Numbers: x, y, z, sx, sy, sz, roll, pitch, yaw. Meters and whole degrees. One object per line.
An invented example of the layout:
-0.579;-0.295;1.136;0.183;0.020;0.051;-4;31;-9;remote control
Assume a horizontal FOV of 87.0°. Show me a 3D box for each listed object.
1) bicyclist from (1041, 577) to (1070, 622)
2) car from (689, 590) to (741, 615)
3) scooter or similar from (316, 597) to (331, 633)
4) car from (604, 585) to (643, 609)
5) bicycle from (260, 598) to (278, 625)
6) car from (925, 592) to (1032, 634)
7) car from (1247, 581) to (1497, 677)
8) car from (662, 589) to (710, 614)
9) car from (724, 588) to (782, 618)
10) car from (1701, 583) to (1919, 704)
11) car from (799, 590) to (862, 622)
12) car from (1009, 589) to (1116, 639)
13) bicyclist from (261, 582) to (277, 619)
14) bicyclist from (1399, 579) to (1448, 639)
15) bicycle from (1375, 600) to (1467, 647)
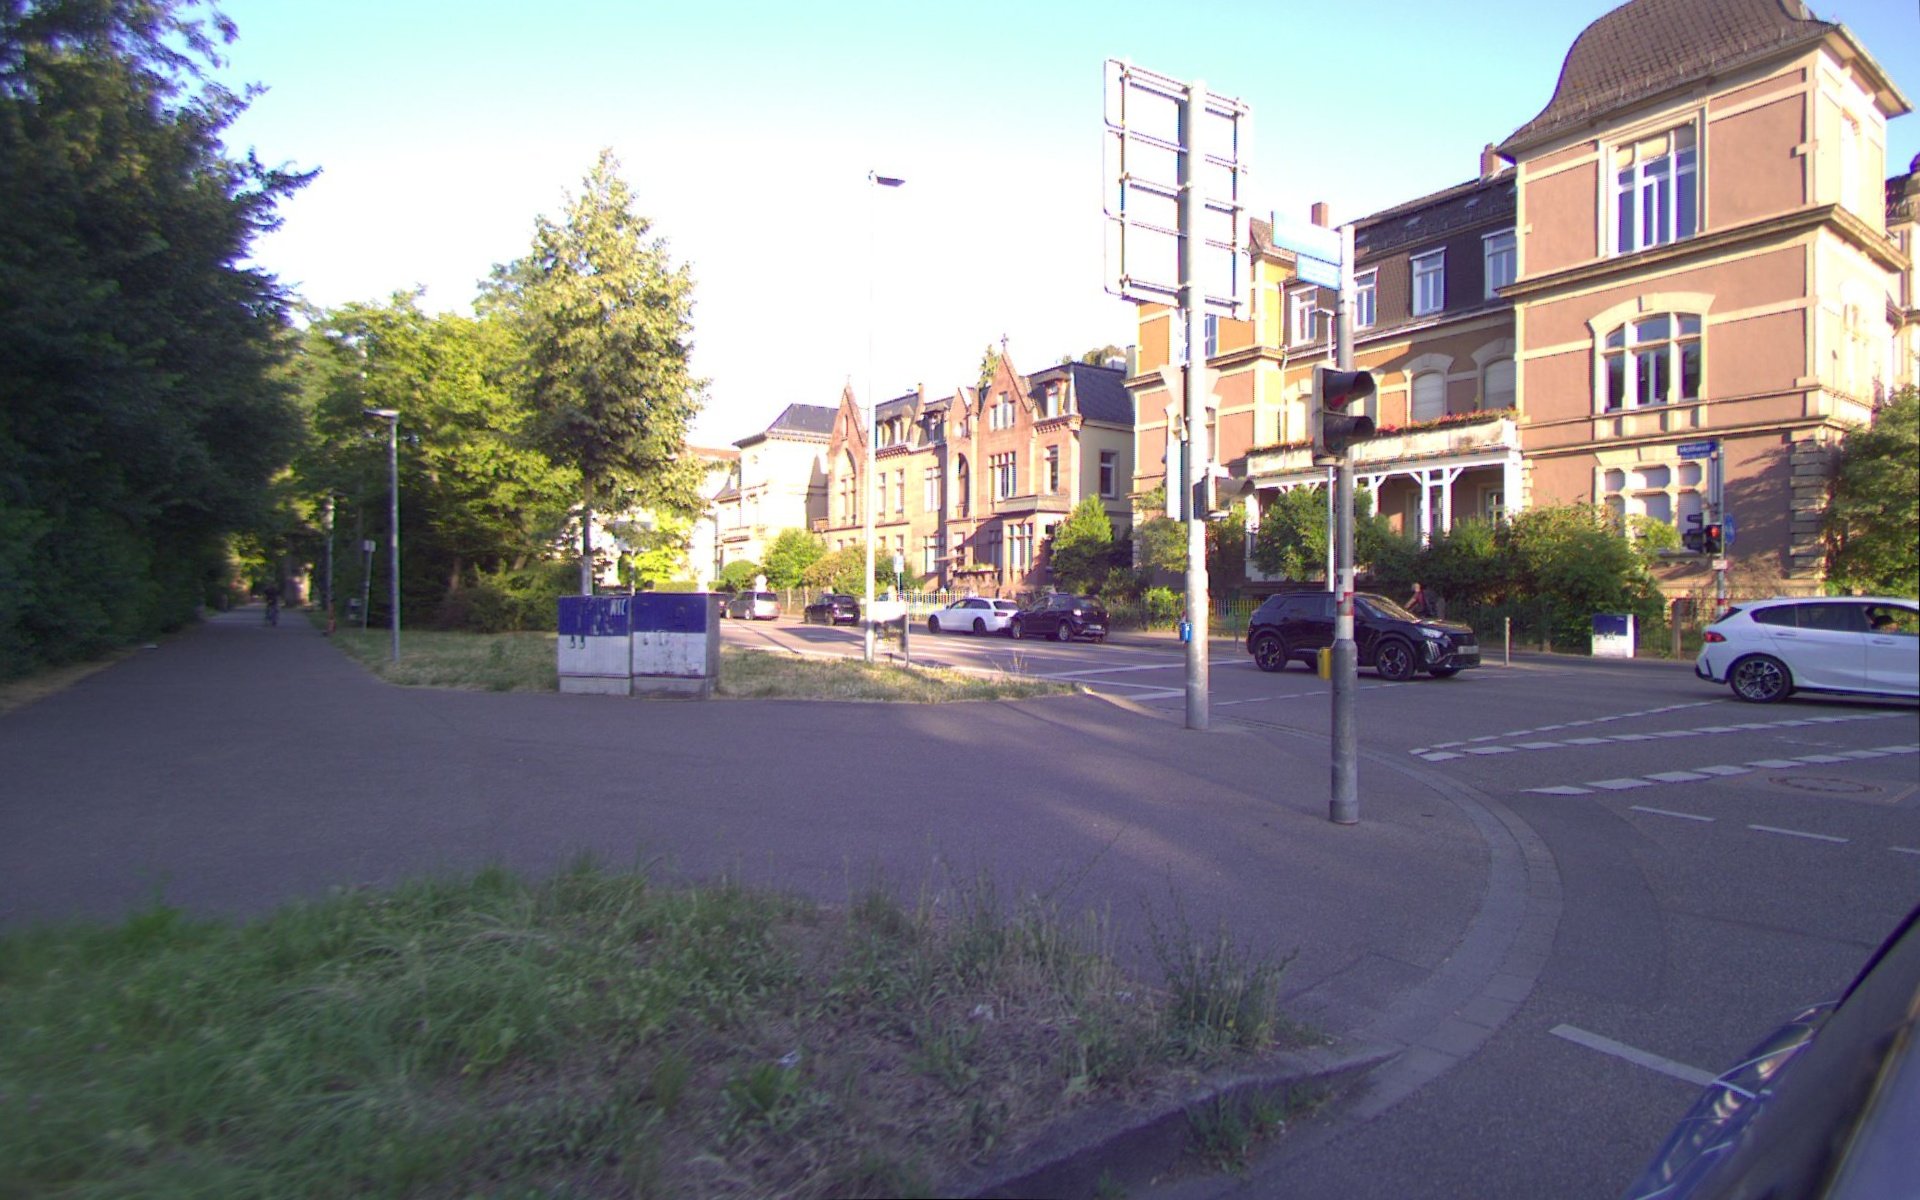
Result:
3.580;-0.037;37.937;0.640;1.653;0.915;-2;1;-34;bicyclist
-14.588;0.147;60.088;1.684;1.468;3.722;1;0;-36;car
-19.848;0.452;31.565;0.190;1.099;0.838;-2;0;-20;scooter or similar
-25.144;-0.255;75.562;1.845;1.625;3.725;1;2;-34;car
-27.284;0.432;39.938;0.493;1.027;1.526;0;0;-39;bicycle
0.632;0.456;37.808;1.579;1.461;4.431;3;-1;-37;car
7.410;0.456;18.536;1.652;1.555;4.000;0;0;-35;car
-17.242;0.091;63.693;1.684;1.468;3.722;1;0;-36;car
-11.441;0.157;55.787;1.684;1.609;3.752;1;0;-36;car
12.371;0.534;13.181;1.729;1.484;4.178;0;0;-44;car
-6.232;0.277;48.341;1.601;1.463;3.568;1;0;-33;car
3.389;0.457;34.060;1.601;1.554;3.724;3;-1;-33;car
-27.284;0.017;39.945;0.487;1.435;0.568;0;0;-39;bicyclist
12.036;0.225;26.298;0.672;1.531;0.956;-1;0;-34;bicyclist
11.984;0.597;26.377;0.675;1.137;2.169;-1;1;-34;bicycle
